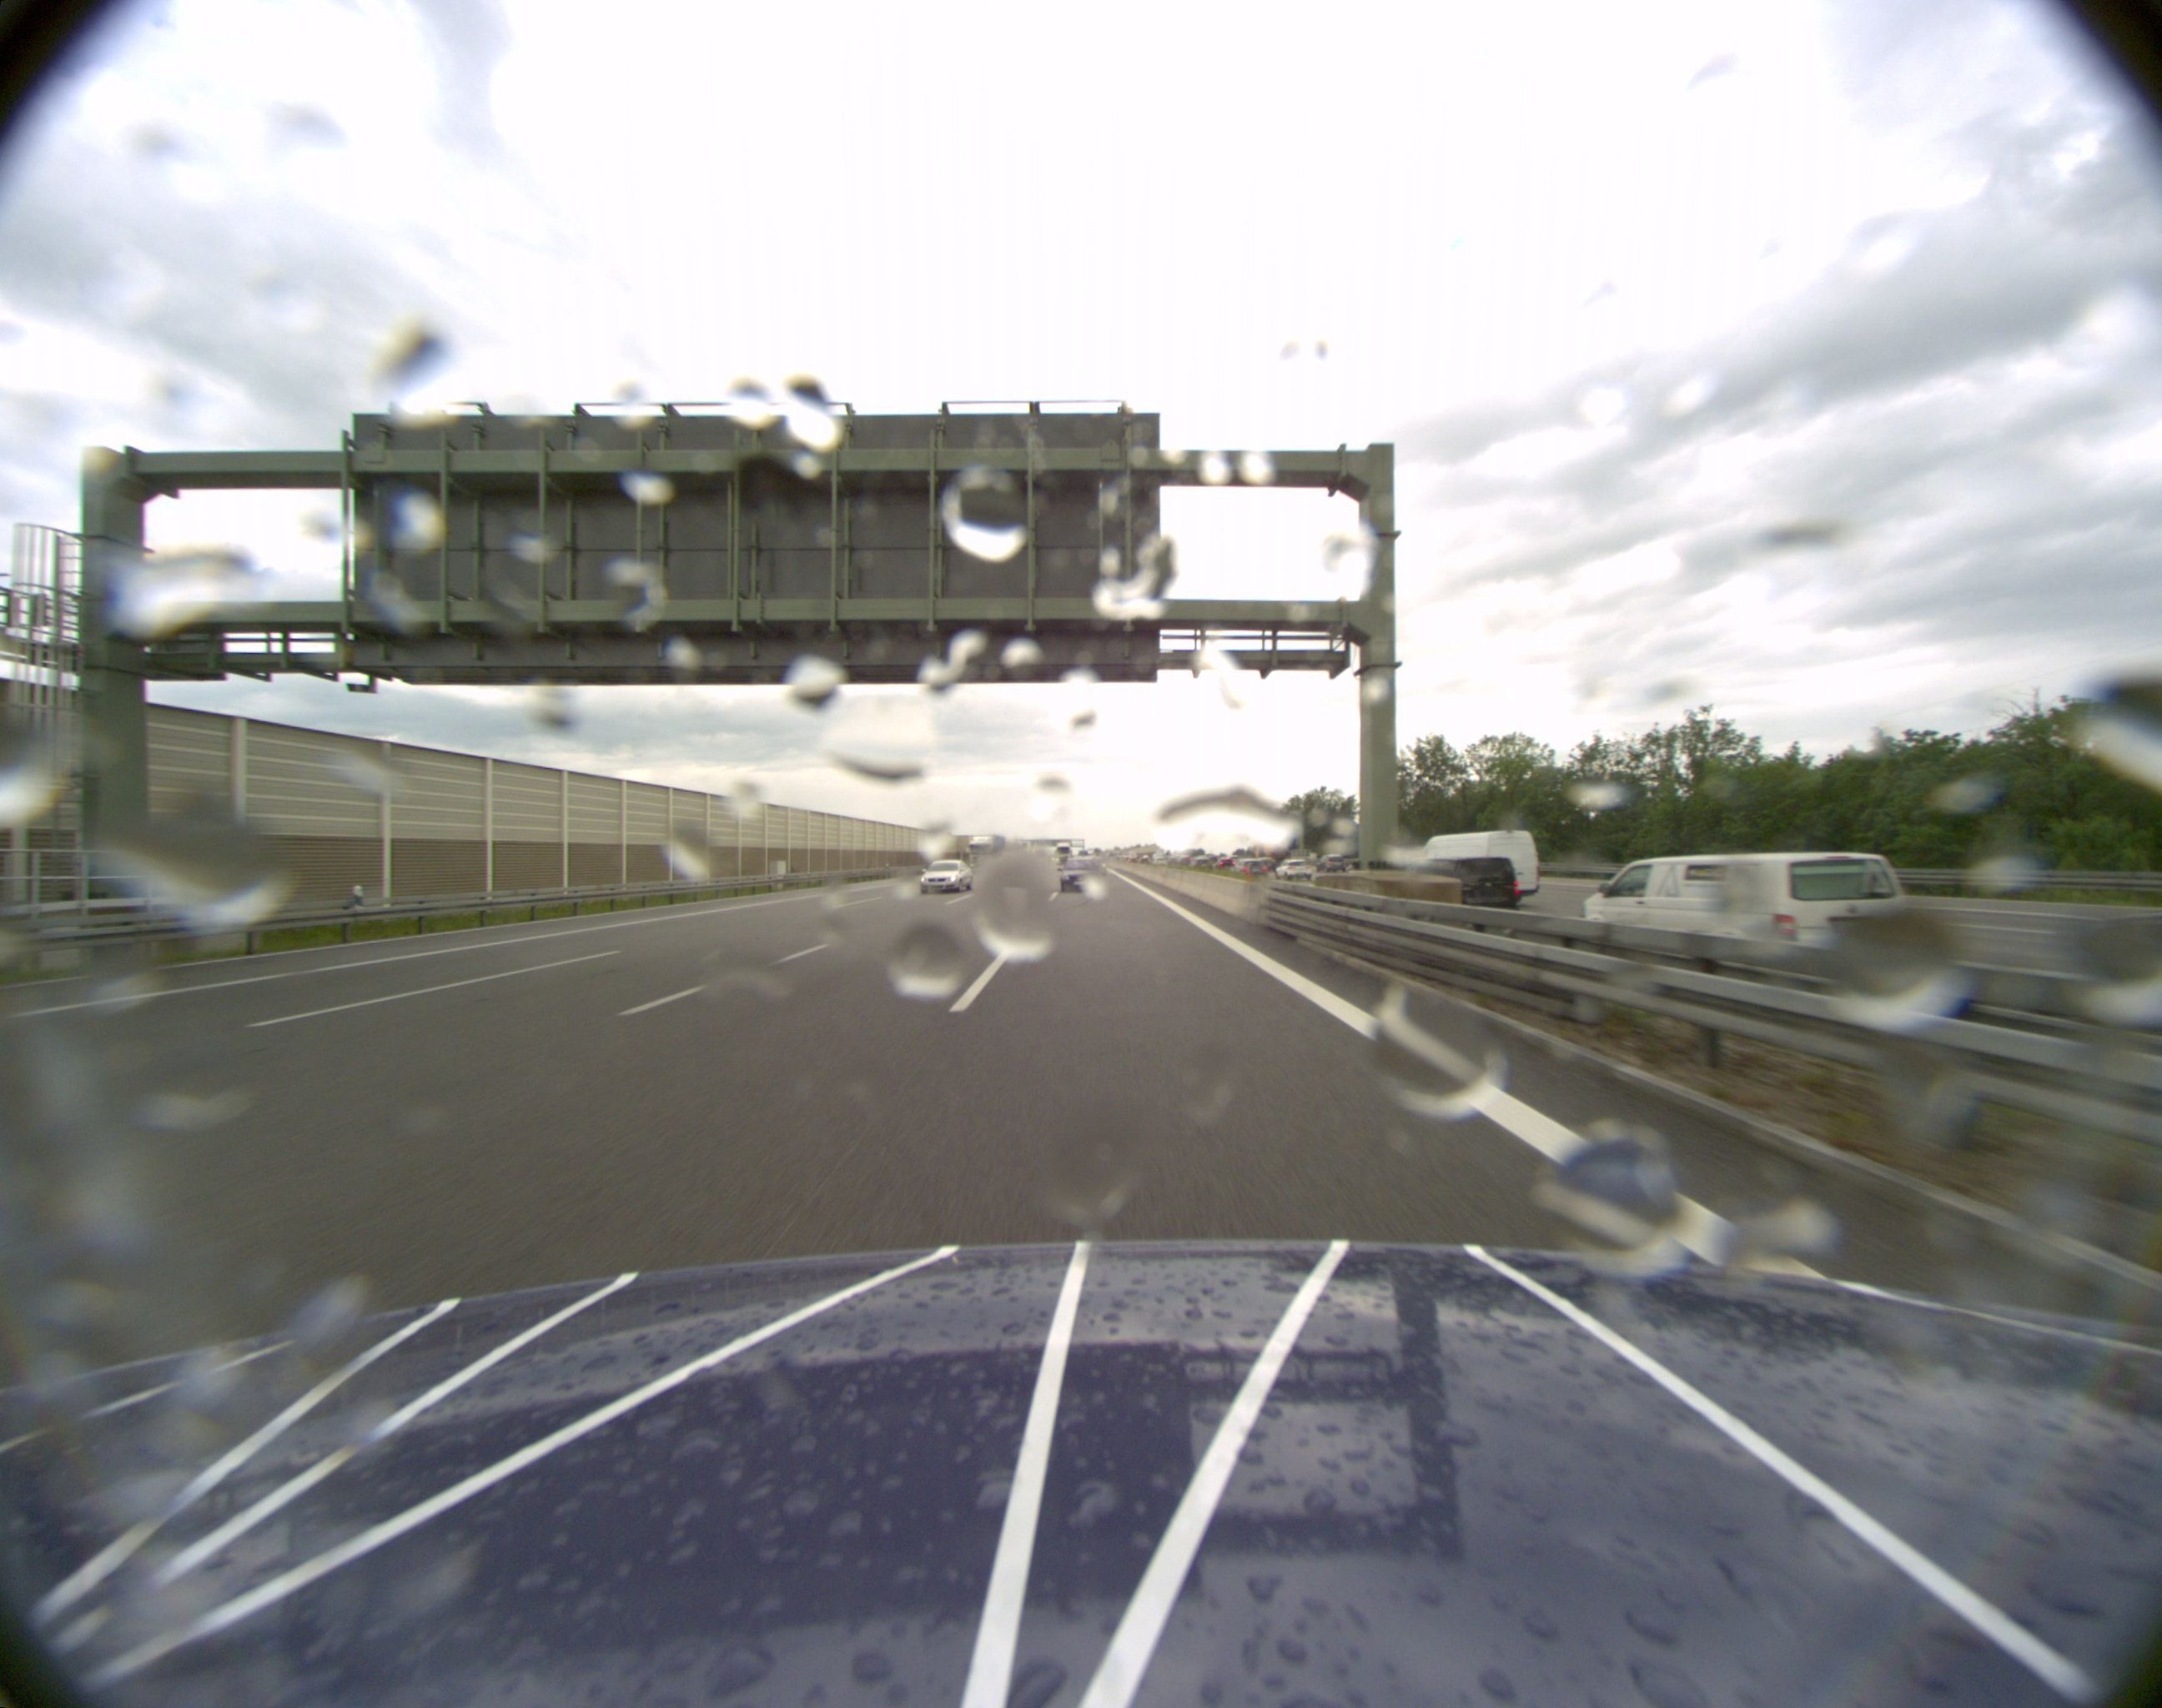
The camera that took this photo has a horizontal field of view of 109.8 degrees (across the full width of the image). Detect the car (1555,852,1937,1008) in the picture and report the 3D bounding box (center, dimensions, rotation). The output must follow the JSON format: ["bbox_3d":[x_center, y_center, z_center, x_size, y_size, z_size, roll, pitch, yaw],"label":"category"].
[{"bbox_3d":[10.666,1.029,12.960,1.823,2.065,5.375,-1,0,0],"label":"car"}]

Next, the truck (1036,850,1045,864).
[{"bbox_3d":[-12.947,0.978,242.272,2.600,4.087,11.370,-1,0,-2],"label":"truck"}]

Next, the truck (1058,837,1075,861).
[{"bbox_3d":[-2.653,-0.957,137.933,2.913,4.145,5.192,-2,0,-1],"label":"truck"}]

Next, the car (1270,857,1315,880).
[{"bbox_3d":[15.125,1.003,54.601,1.727,1.486,4.912,-2,0,-1],"label":"car"}]

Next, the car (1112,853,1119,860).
[{"bbox_3d":[9.771,0.711,216.487,1.727,1.636,4.518,-2,0,0],"label":"car"}]

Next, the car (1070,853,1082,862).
[{"bbox_3d":[-0.782,0.520,115.858,1.498,1.394,3.999,-1,0,-3],"label":"car"}]

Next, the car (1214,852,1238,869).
[{"bbox_3d":[15.505,0.675,81.515,1.727,1.593,4.644,-2,0,0],"label":"car"}]

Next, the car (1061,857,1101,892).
[{"bbox_3d":[0.067,0.831,32.919,1.578,1.394,4.001,-1,0,2],"label":"car"}]

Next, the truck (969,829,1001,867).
[{"bbox_3d":[-10.562,-0.591,83.964,2.752,4.011,5.726,-1,0,-1],"label":"truck"}]

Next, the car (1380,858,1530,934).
[{"bbox_3d":[10.847,1.121,22.596,1.823,1.893,5.424,-1,0,0],"label":"car"}]

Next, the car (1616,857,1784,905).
[{"bbox_3d":[21.658,0.886,26.924,1.987,1.486,4.913,-1,0,0],"label":"car"}]

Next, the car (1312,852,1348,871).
[{"bbox_3d":[22.918,0.679,70.041,1.727,1.593,4.913,-2,0,0],"label":"car"}]

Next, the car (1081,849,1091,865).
[{"bbox_3d":[0.982,0.594,148.032,1.645,3.041,4.589,-1,0,-1],"label":"car"}]

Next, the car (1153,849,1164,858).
[{"bbox_3d":[18.274,-0.136,179.375,1.692,1.925,5.547,-2,0,-2],"label":"car"}]

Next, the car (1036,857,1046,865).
[{"bbox_3d":[-7.111,1.303,134.452,1.698,1.394,3.999,-1,0,-2],"label":"car"}]

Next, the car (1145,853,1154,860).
[{"bbox_3d":[15.591,0.515,172.948,1.727,1.407,4.518,-2,0,0],"label":"car"}]

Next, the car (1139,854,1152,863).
[{"bbox_3d":[11.040,0.772,130.514,1.727,1.420,5.230,-2,0,0],"label":"car"}]

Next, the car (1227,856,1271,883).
[{"bbox_3d":[11.115,0.957,50.561,1.727,1.593,4.912,-2,0,-1],"label":"car"}]

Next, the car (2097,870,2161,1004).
[{"bbox_3d":[14.627,1.060,8.032,1.822,1.668,4.478,-2,0,1],"label":"car"}]

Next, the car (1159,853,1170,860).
[{"bbox_3d":[15.671,0.475,142.844,1.727,1.410,4.201,0,0,0],"label":"car"}]

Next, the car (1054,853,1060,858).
[{"bbox_3d":[-6.977,0.322,223.129,1.698,1.394,3.999,-1,0,-2],"label":"car"}]

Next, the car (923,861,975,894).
[{"bbox_3d":[-6.052,1.052,35.283,1.732,1.394,4.000,-1,0,0],"label":"car"}]

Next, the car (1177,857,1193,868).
[{"bbox_3d":[15.550,1.297,113.960,1.727,1.420,4.518,-2,0,0],"label":"car"}]

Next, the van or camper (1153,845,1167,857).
[{"bbox_3d":[21.583,-0.738,207.415,2.632,3.104,8.475,-2,0,-1],"label":"van or camper"}]

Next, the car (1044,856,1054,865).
[{"bbox_3d":[-7.492,1.495,178.946,1.998,2.002,4.000,-2,0,1],"label":"car"}]

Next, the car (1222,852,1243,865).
[{"bbox_3d":[19.150,0.545,96.348,1.727,1.593,4.518,-2,0,0],"label":"car"}]

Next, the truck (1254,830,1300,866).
[{"bbox_3d":[23.110,-0.678,90.293,2.922,3.991,9.582,-1,0,0],"label":"truck"}]

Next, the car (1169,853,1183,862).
[{"bbox_3d":[16.062,0.616,129.036,1.727,1.420,4.518,-2,0,0],"label":"car"}]

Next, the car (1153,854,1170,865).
[{"bbox_3d":[10.969,0.774,103.807,1.727,1.420,4.648,-2,0,-1],"label":"car"}]

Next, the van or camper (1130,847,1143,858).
[{"bbox_3d":[15.070,-0.510,207.322,2.632,2.934,7.357,-2,0,-1],"label":"van or camper"}]

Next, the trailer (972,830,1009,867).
[{"bbox_3d":[-10.673,-0.504,91.016,2.768,4.008,14.452,-1,0,-1],"label":"trailer"}]

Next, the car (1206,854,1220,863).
[{"bbox_3d":[23.163,0.739,133.670,1.727,1.420,4.518,-2,0,0],"label":"car"}]

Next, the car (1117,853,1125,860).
[{"bbox_3d":[10.175,0.556,193.206,1.727,1.636,5.061,-2,0,0],"label":"car"}]

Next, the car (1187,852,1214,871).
[{"bbox_3d":[11.084,0.692,70.653,1.727,1.593,4.913,-2,0,0],"label":"car"}]

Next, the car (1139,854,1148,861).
[{"bbox_3d":[15.243,0.863,184.773,1.727,1.636,4.518,-2,0,0],"label":"car"}]

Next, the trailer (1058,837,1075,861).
[{"bbox_3d":[-2.836,-0.903,144.575,2.926,4.187,13.195,-2,0,-2],"label":"trailer"}]

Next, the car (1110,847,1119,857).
[{"bbox_3d":[10.246,-0.554,233.314,2.237,2.733,9.165,-1,-1,-1],"label":"car"}]

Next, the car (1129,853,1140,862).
[{"bbox_3d":[10.705,0.748,151.832,1.727,1.636,4.992,-2,0,0],"label":"car"}]

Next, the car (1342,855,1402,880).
[{"bbox_3d":[18.497,0.804,48.587,1.987,1.486,4.913,-1,0,0],"label":"car"}]

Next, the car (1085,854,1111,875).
[{"bbox_3d":[1.246,0.779,56.915,1.776,1.451,4.480,-1,0,0],"label":"car"}]

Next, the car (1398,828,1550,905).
[{"bbox_3d":[15.175,0.415,30.081,2.054,2.637,7.735,-1,0,0],"label":"car"}]

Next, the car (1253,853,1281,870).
[{"bbox_3d":[19.138,0.758,78.309,1.727,1.593,4.913,-2,0,0],"label":"car"}]

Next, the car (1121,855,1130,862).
[{"bbox_3d":[10.519,1.062,179.845,1.727,1.636,5.061,-2,0,0],"label":"car"}]

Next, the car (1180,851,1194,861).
[{"bbox_3d":[19.042,0.349,136.265,1.727,1.636,5.235,-2,0,0],"label":"car"}]
